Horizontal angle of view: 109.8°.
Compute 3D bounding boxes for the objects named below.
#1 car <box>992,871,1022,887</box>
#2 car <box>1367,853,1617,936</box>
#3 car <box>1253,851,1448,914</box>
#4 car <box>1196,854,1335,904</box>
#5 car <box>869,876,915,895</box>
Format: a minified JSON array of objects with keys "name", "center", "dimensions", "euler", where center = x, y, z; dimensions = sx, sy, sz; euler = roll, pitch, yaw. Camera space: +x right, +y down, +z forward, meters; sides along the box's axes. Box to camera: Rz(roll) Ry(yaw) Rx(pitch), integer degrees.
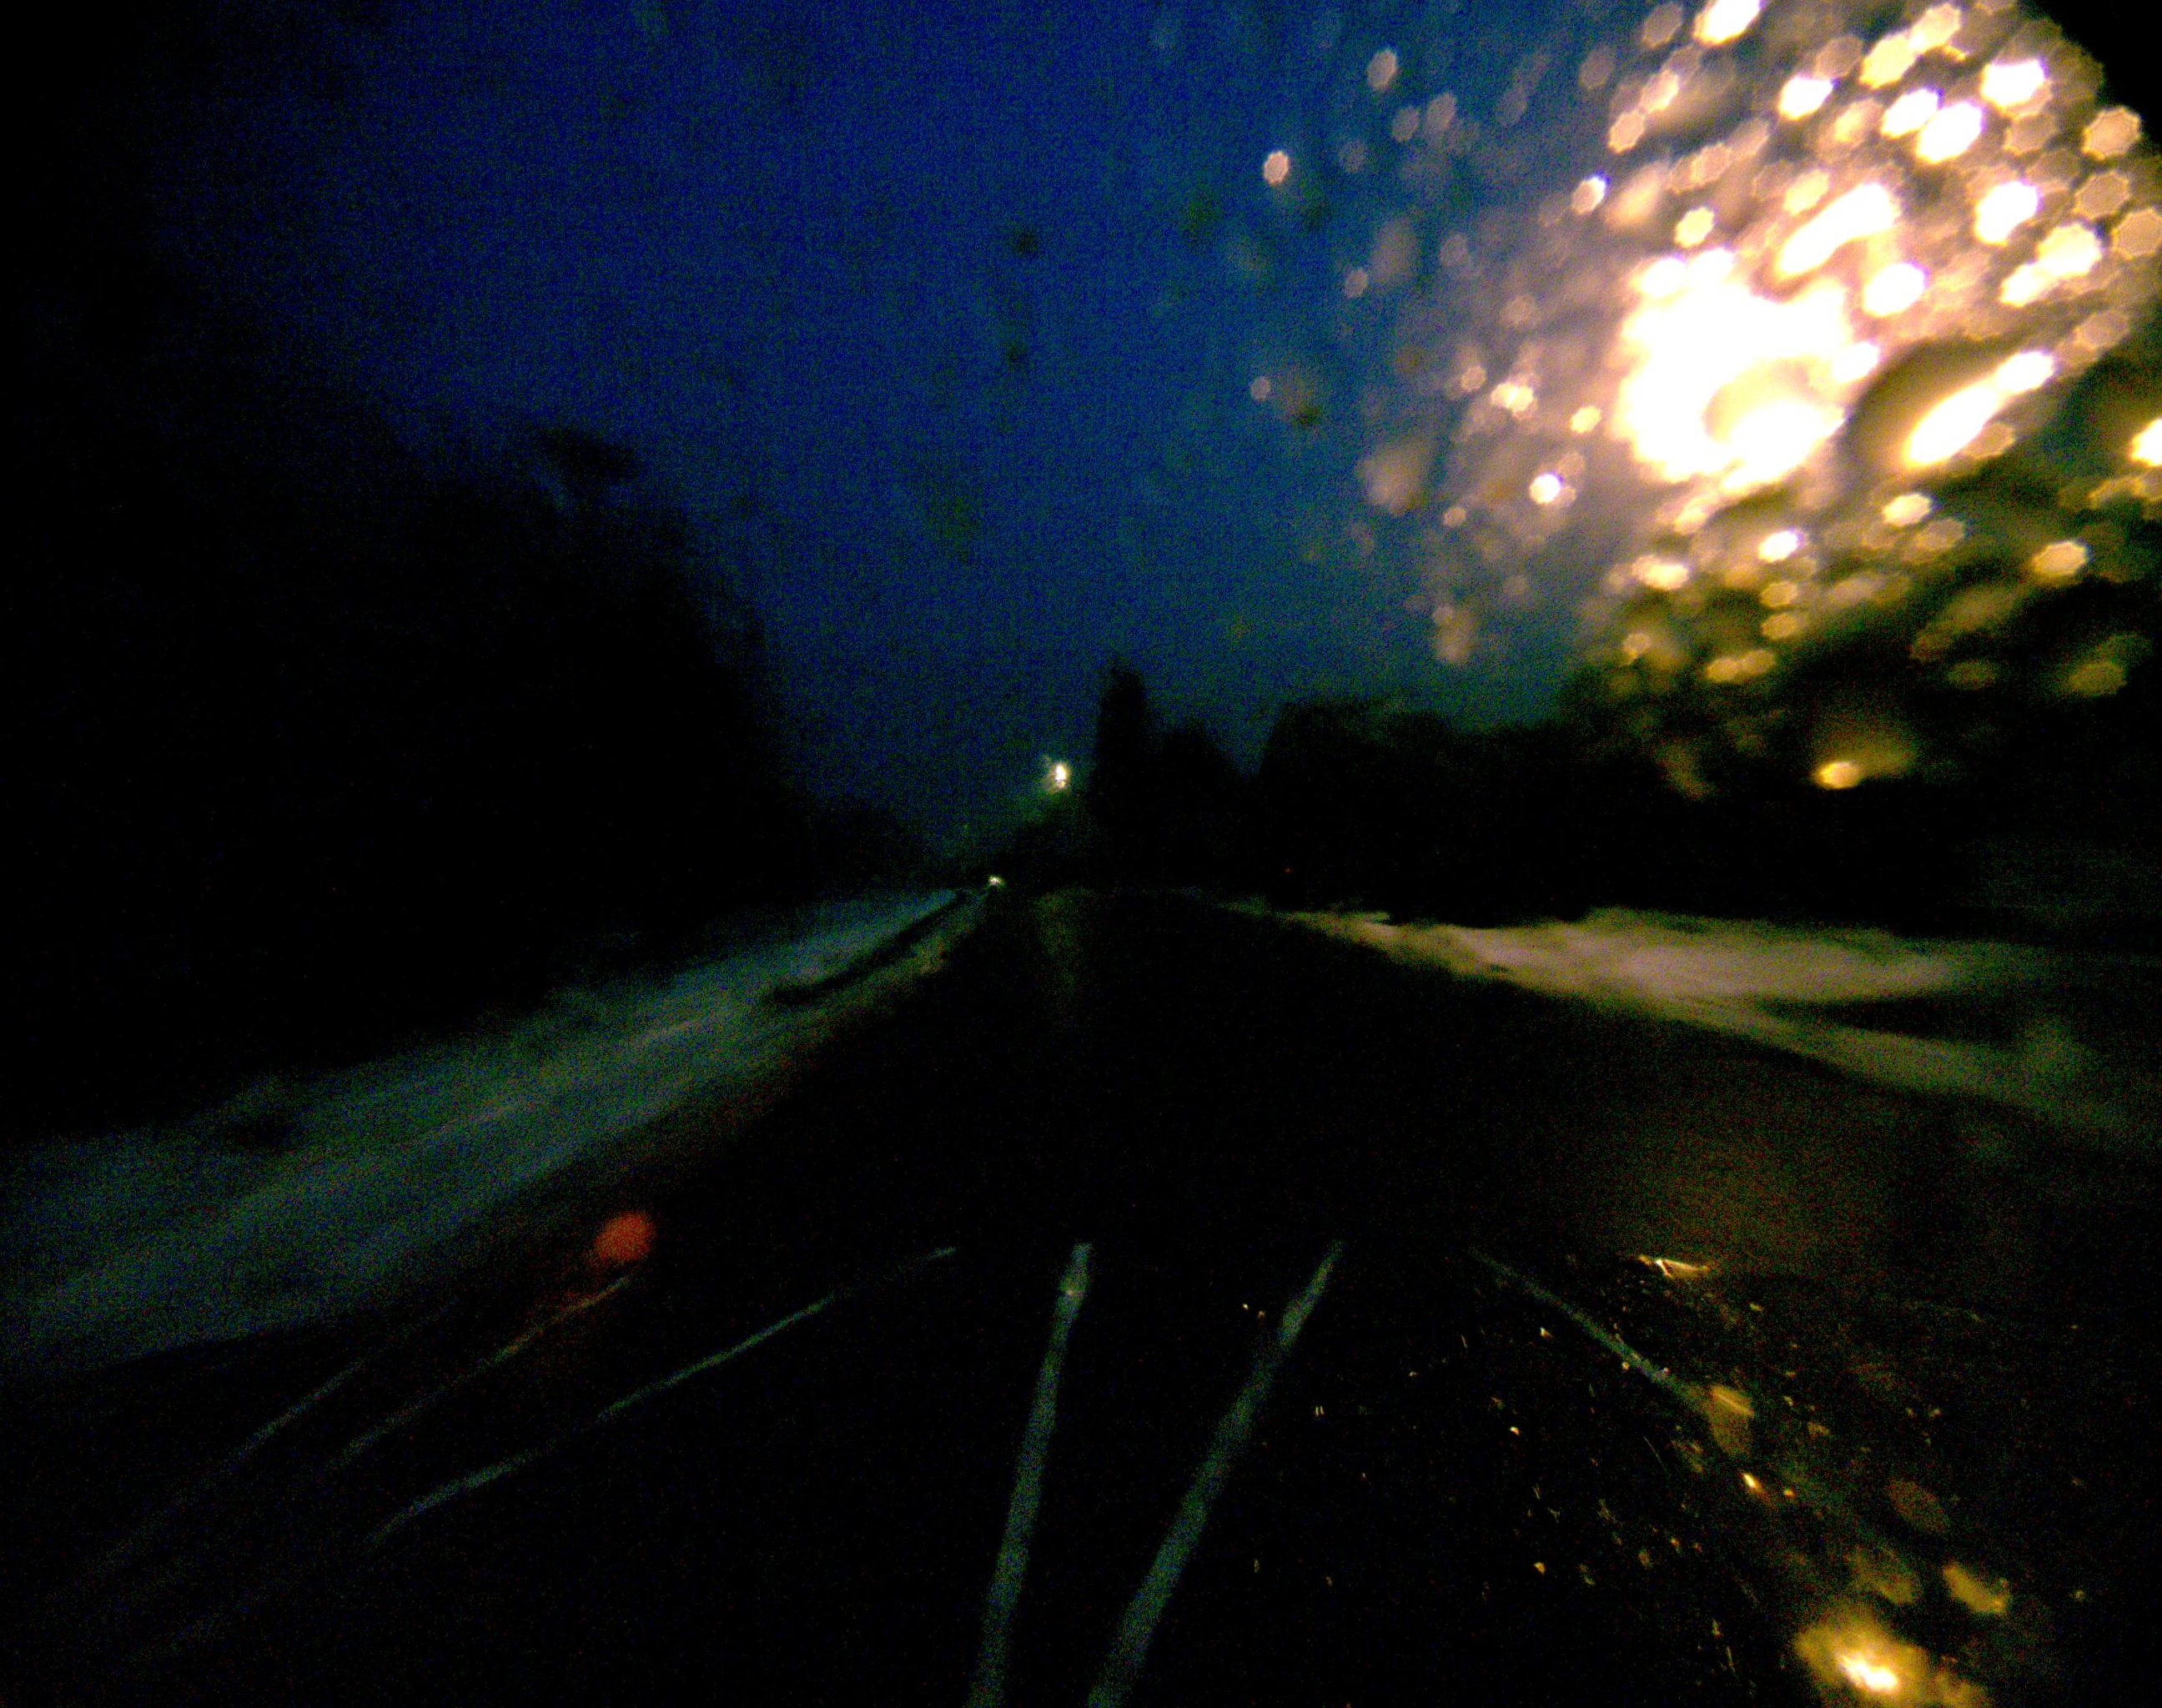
[{"name":"car","center":[-7.563,2.607,77.264],"dimensions":[1.884,1.417,5.387],"euler":[-3,-2,-17]},{"name":"car","center":[7.825,0.736,14.659],"dimensions":[3.867,1.463,1.937],"euler":[0,0,-9]},{"name":"car","center":[7.194,0.734,20.448],"dimensions":[4.544,1.557,2.108],"euler":[0,0,-14]},{"name":"car","center":[6.177,0.795,26.130],"dimensions":[2.003,1.557,4.987],"euler":[1,-1,-23]},{"name":"car","center":[-19.866,3.336,79.847],"dimensions":[4.466,1.373,2.034],"euler":[-7,-1,-16]}]
